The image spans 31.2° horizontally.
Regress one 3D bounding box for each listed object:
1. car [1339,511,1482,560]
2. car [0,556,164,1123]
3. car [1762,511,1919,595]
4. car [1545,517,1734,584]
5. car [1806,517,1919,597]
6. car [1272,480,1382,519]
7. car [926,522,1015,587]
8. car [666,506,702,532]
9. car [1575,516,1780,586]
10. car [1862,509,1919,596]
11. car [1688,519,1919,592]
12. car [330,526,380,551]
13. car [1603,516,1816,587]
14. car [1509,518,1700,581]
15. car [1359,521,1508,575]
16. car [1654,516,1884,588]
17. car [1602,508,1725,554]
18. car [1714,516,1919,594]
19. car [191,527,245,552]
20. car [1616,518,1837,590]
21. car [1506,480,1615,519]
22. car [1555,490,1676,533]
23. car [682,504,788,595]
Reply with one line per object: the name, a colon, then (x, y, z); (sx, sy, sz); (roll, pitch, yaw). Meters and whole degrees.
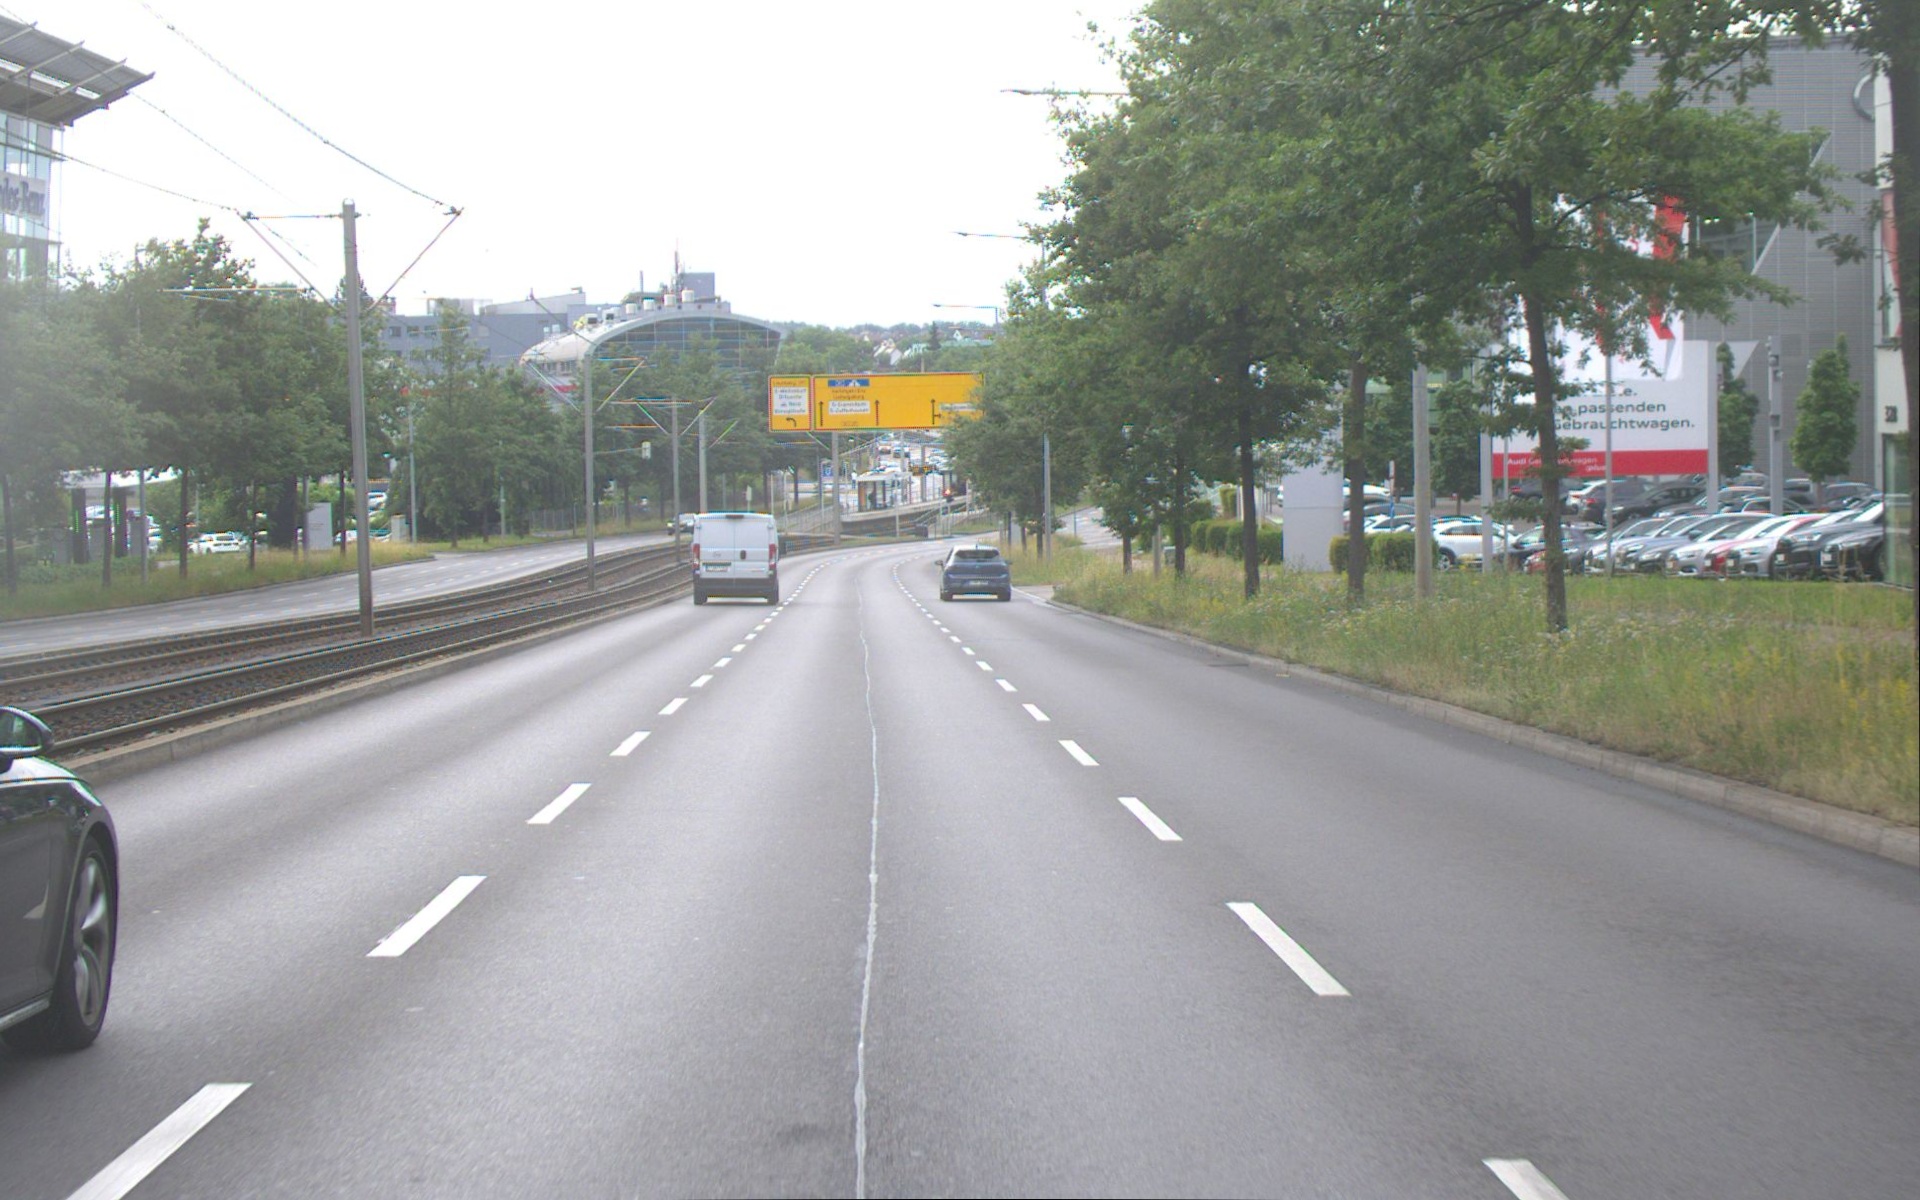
car: (15.093, -2.153, 115.378); (4.519, 1.588, 1.693); (-1, 0, -3)
car: (-3.368, 0.627, 8.484); (1.764, 1.458, 4.627); (1, 1, -1)
car: (17.669, -0.907, 65.126); (4.397, 1.495, 2.040); (-2, 0, -2)
car: (16.952, -1.221, 85.875); (4.276, 1.588, 1.827); (-1, 0, -4)
car: (17.620, -0.803, 61.747); (4.318, 1.373, 1.837); (-2, 0, -4)
car: (15.020, -4.128, 140.664); (4.258, 1.568, 1.693); (0, 2, -3)
car: (0.246, -1.190, 90.305); (2.021, 1.617, 4.001); (1, 0, -4)
car: (-18.270, -5.377, 227.949); (1.883, 1.515, 4.403); (-3, 2, 1)
car: (17.283, -1.181, 82.983); (4.461, 1.545, 1.931); (-2, 0, -2)
car: (18.074, -0.852, 59.442); (4.397, 1.476, 1.931); (-1, 0, -2)
car: (17.498, -0.915, 71.045); (4.397, 1.344, 1.931); (-2, 0, -2)
car: (-38.466, -3.914, 218.600); (1.993, 1.505, 4.001); (1, 0, -27)
car: (17.423, -1.125, 80.004); (4.461, 1.523, 1.931); (-2, 0, -2)
car: (16.659, -1.301, 88.912); (4.460, 1.545, 1.931); (-1, 0, -6)
car: (14.467, -1.583, 105.121); (4.104, 1.588, 1.949); (0, 0, -10)
car: (17.430, -1.027, 74.169); (4.461, 1.451, 1.931); (-1, 0, -2)
car: (25.642, -2.516, 125.353); (4.105, 1.568, 1.693); (-1, 2, -3)
car: (17.363, -0.893, 68.036); (4.397, 1.422, 1.891); (-2, 0, -2)
car: (-46.436, -3.797, 215.095); (1.993, 1.505, 4.000); (1, 1, -33)
car: (17.189, -1.037, 77.196); (4.461, 1.451, 1.931); (-2, 0, -2)
car: (24.583, -4.121, 140.868); (4.105, 1.568, 1.693); (0, 2, -3)
car: (24.363, -3.307, 127.910); (4.105, 1.568, 1.826); (0, 2, -3)
car: (-5.606, -1.239, 85.359); (2.511, 2.169, 5.150); (1, 0, -4)
